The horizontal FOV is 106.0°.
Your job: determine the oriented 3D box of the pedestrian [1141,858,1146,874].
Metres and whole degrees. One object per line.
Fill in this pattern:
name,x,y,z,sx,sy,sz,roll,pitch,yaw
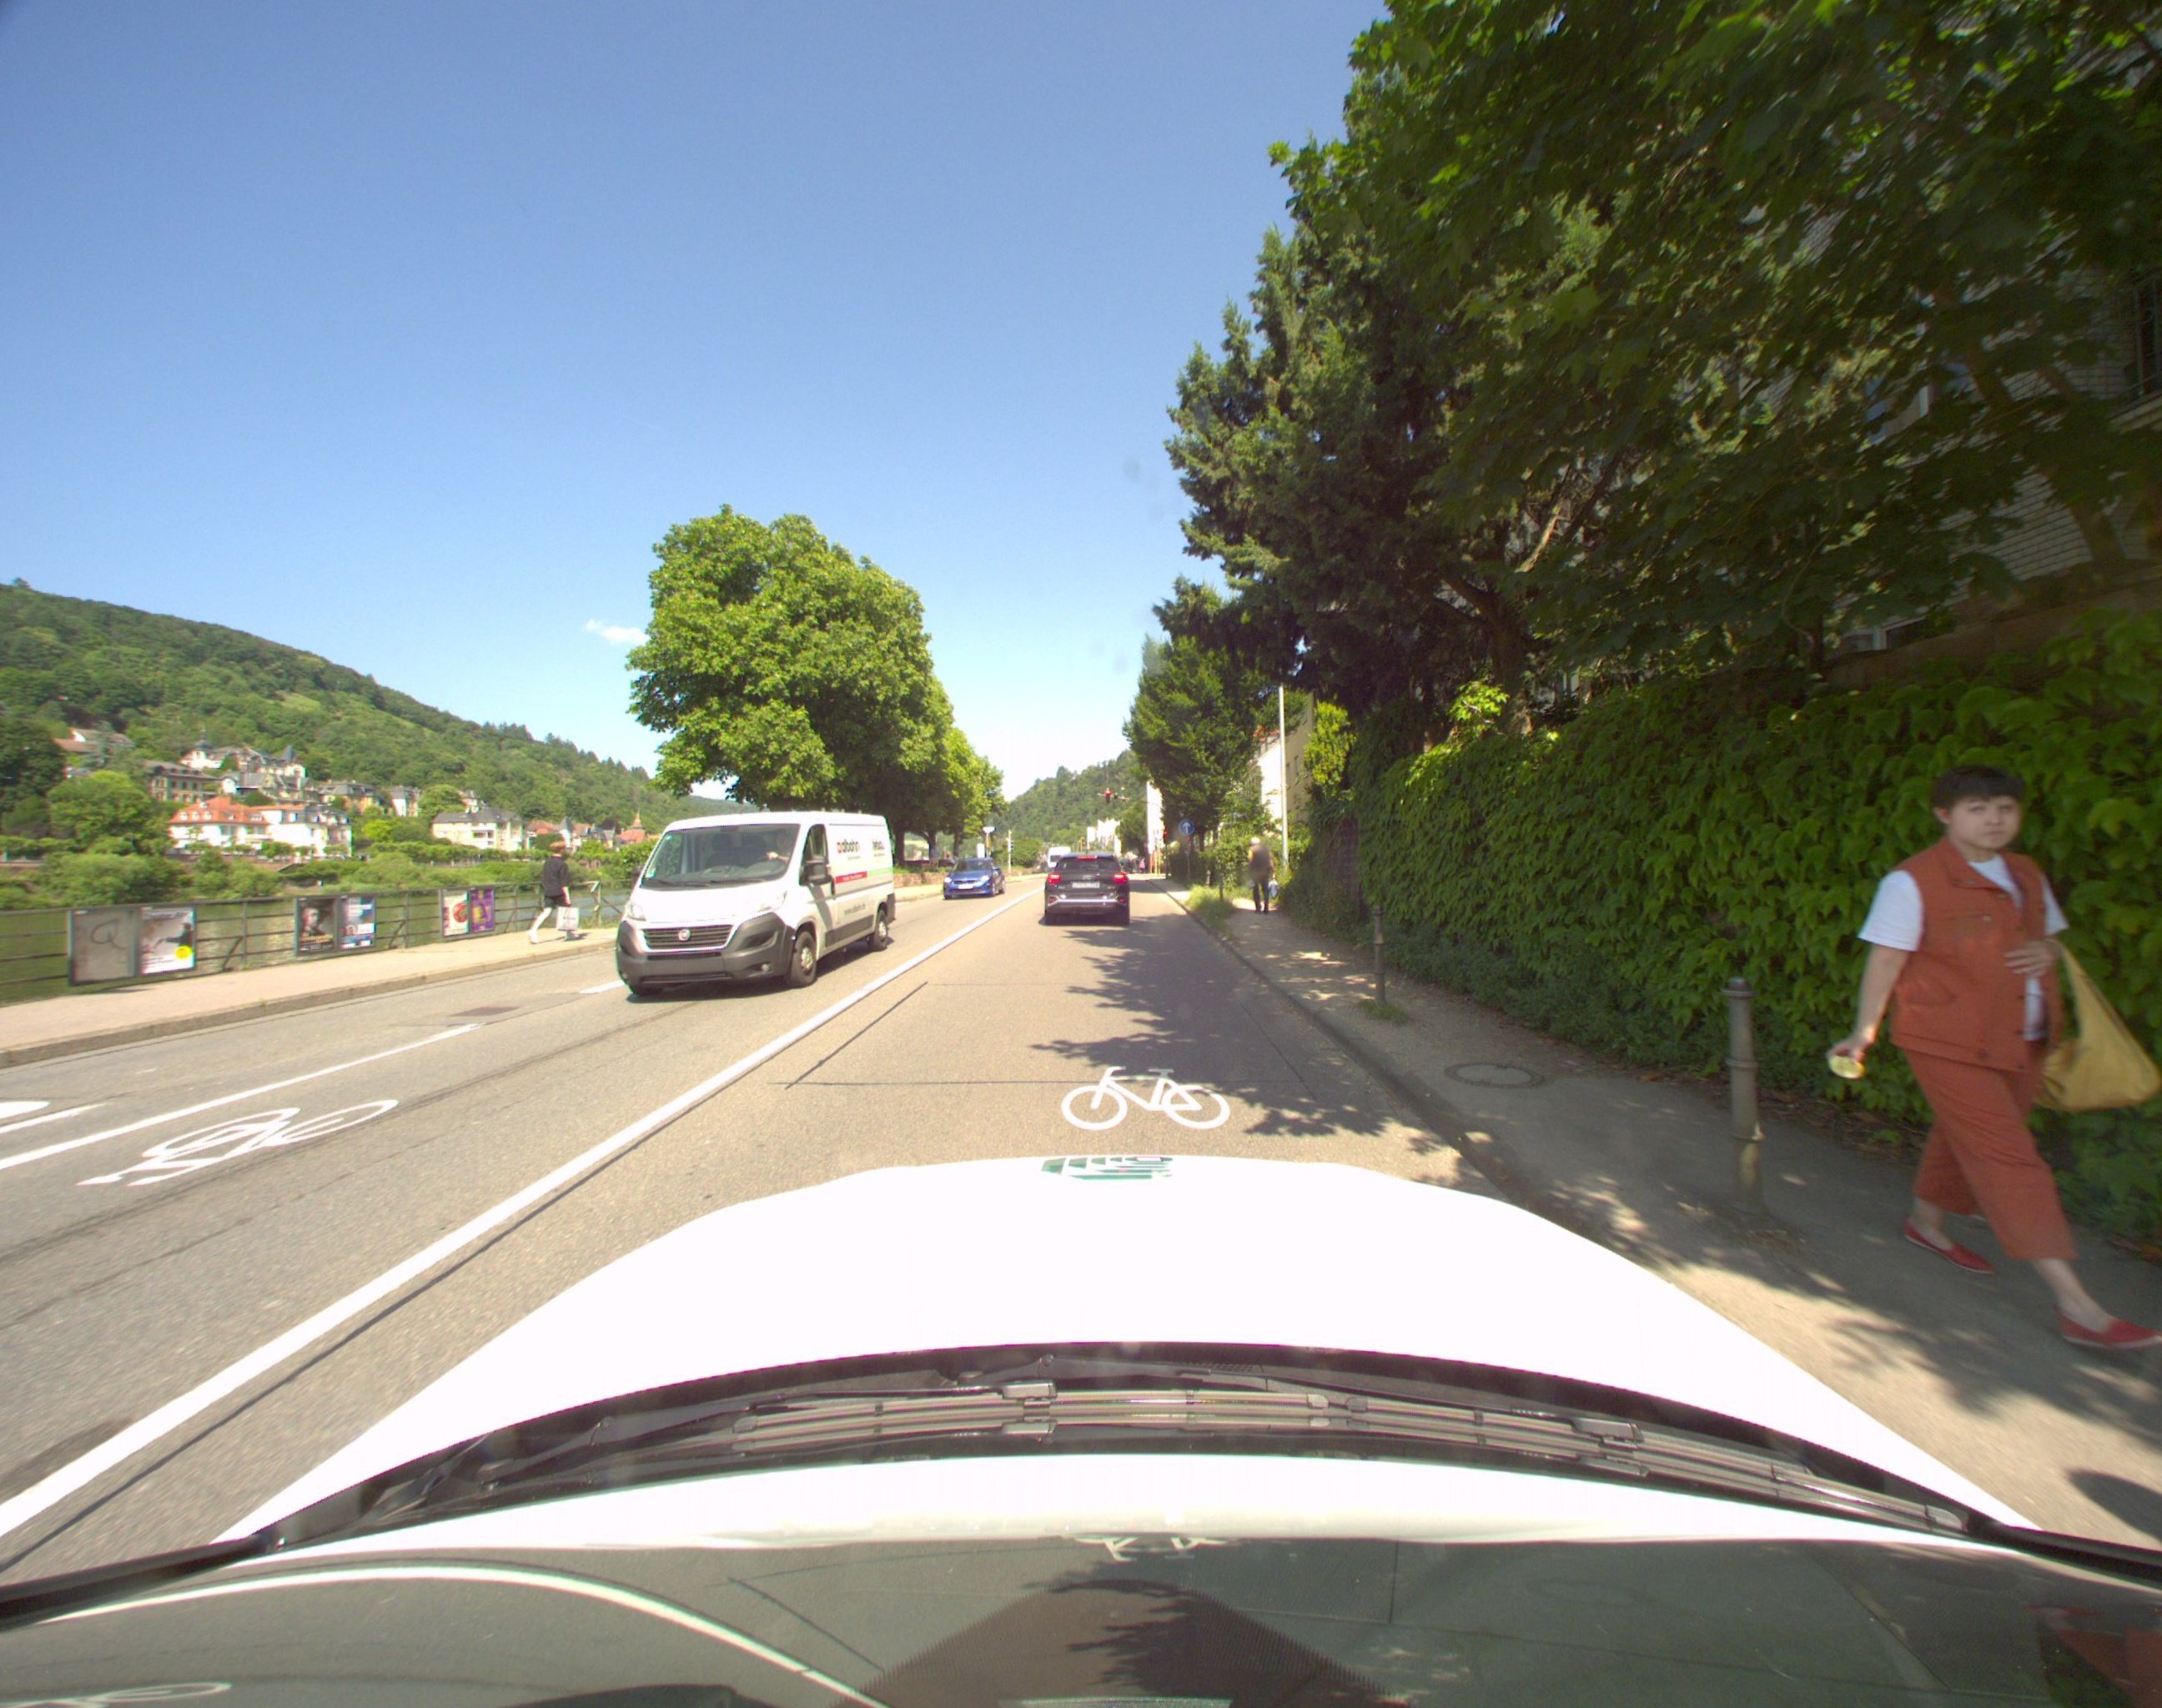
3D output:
pedestrian,6.199,1.157,80.934,0.487,1.559,0.462,-2,-2,1

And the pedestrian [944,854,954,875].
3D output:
pedestrian,-10.054,0.802,61.987,0.555,1.559,0.541,-2,-2,5

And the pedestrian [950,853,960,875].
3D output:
pedestrian,-9.697,0.754,62.708,0.555,1.669,0.541,-2,-2,5

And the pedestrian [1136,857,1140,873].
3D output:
pedestrian,6.165,1.199,88.207,0.412,1.716,0.403,-2,-2,1

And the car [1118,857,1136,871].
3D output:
car,5.218,1.146,92.822,1.986,1.453,4.009,-2,-2,2

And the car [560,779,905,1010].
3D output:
car,-4.225,0.384,11.322,2.089,2.302,5.870,-2,1,1

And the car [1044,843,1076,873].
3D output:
car,-1.832,0.410,73.895,2.485,2.466,5.621,-2,-2,2

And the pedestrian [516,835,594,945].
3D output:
pedestrian,-9.684,0.655,15.028,0.750,1.918,1.009,-2,-2,1

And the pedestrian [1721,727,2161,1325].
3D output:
pedestrian,2.875,0.467,2.706,0.732,1.634,0.921,-2,0,1

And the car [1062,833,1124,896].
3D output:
car,0.479,0.357,28.890,1.986,2.013,4.002,-2,0,2

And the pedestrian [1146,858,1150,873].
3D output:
pedestrian,6.756,1.171,82.152,0.412,1.559,0.395,-2,-2,1

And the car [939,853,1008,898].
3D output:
car,-3.863,0.772,29.947,1.892,1.489,3.796,-2,-1,1

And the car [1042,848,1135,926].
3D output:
car,0.207,0.643,18.155,1.850,1.523,4.002,0,1,2

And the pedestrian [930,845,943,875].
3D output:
pedestrian,-10.075,0.421,56.784,0.638,2.014,0.731,-2,-2,1

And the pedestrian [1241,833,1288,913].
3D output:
pedestrian,3.959,0.398,17.646,0.725,1.650,0.882,-4,0,1
